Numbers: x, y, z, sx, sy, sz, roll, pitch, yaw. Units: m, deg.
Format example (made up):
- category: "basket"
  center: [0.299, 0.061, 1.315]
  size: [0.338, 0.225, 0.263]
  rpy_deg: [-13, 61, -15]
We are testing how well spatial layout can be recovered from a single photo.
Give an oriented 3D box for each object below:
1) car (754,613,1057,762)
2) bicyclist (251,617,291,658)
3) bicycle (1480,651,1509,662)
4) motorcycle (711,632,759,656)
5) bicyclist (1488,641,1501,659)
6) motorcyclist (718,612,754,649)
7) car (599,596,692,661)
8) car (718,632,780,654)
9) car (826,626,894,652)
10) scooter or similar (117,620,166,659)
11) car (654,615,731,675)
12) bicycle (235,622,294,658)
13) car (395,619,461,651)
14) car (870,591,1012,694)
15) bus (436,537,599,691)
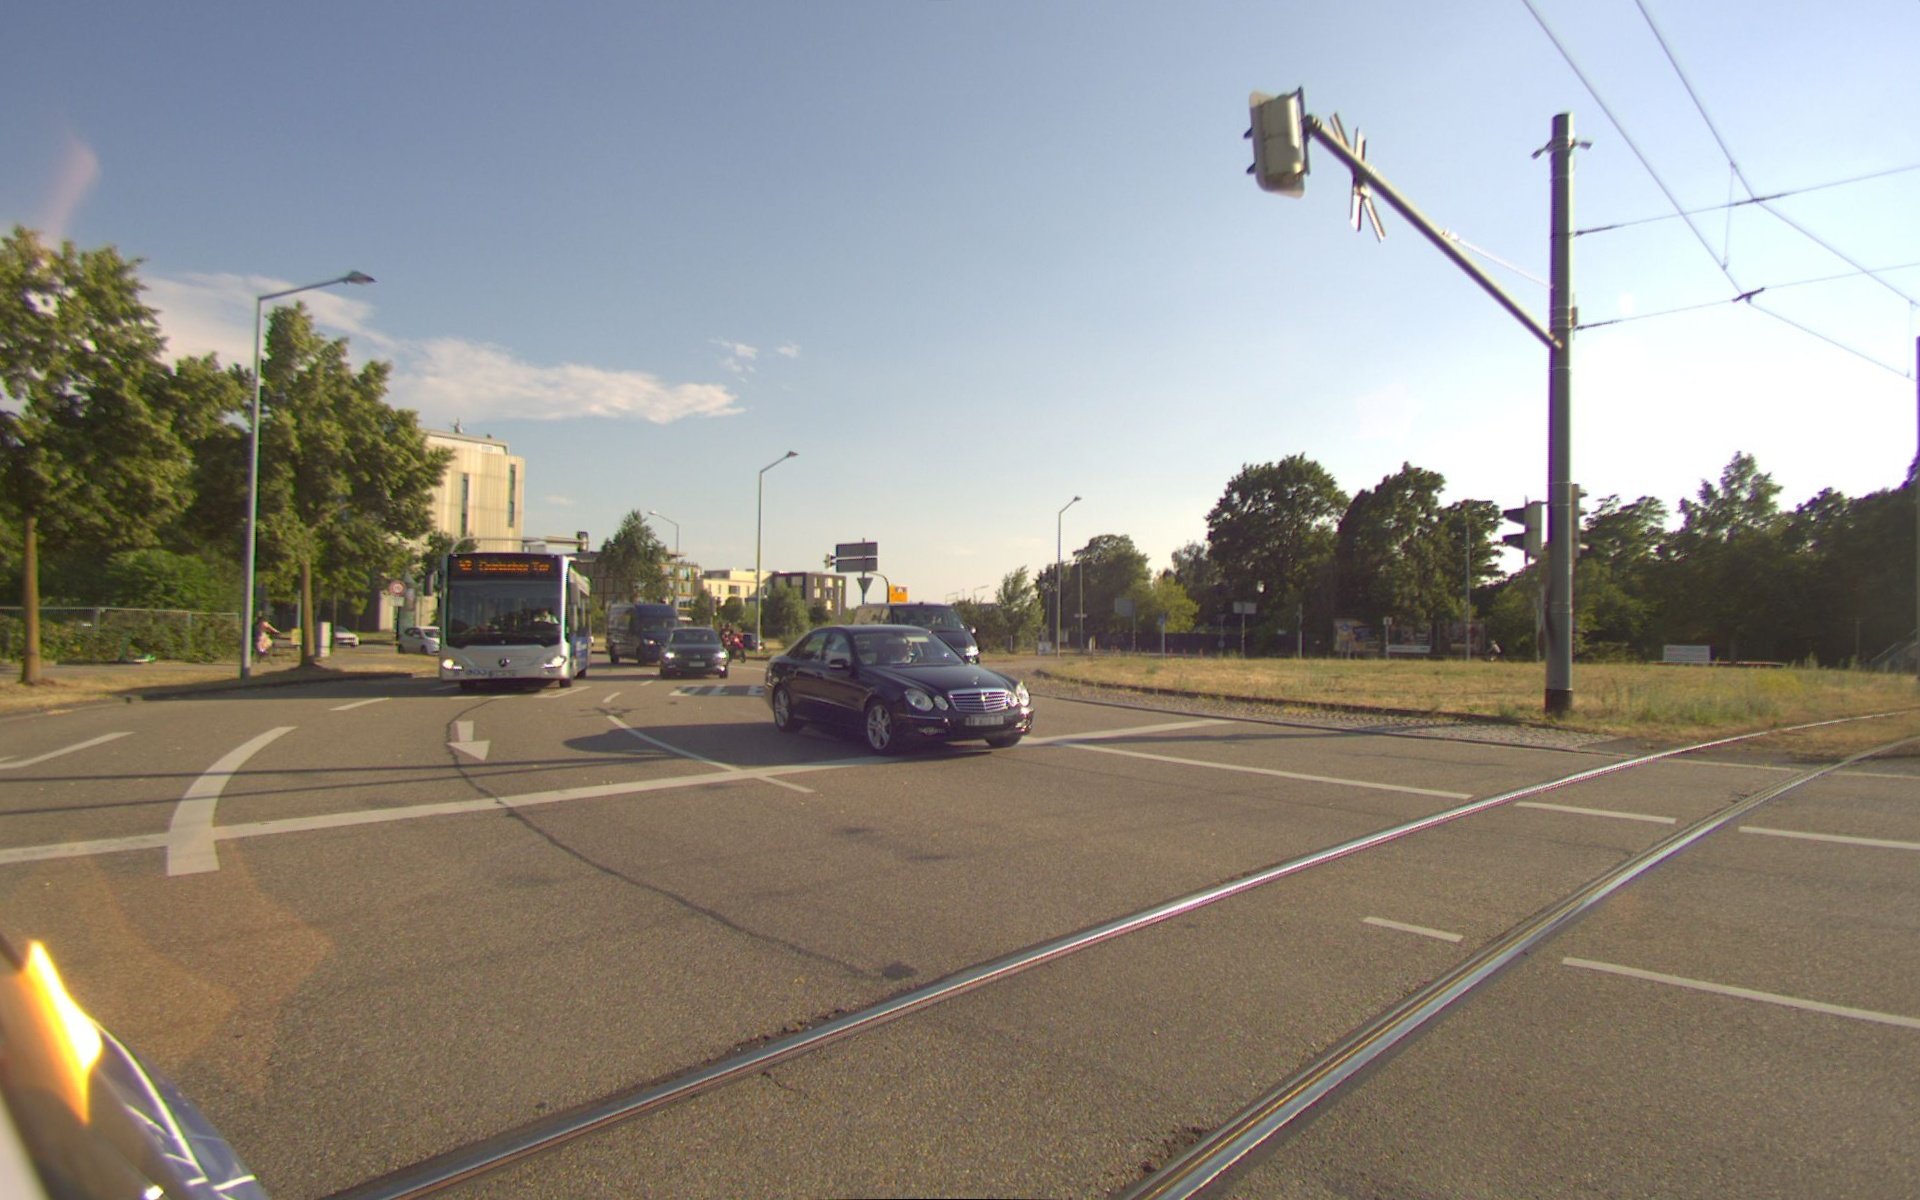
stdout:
- category: "car"
  center: [-0.886, 0.907, 12.567]
  size: [1.781, 1.447, 4.506]
  rpy_deg: [0, 0, -32]
- category: "bicyclist"
  center: [-23.409, 1.278, 34.393]
  size: [0.553, 1.373, 0.977]
  rpy_deg: [0, -2, 11]
- category: "bicycle"
  center: [38.023, 4.031, 71.991]
  size: [1.706, 0.750, 0.478]
  rpy_deg: [0, -2, 16]
- category: "motorcycle"
  center: [-9.895, 1.938, 44.472]
  size: [0.940, 0.969, 2.897]
  rpy_deg: [2, -2, -37]
- category: "bicyclist"
  center: [38.039, 3.556, 72.024]
  size: [0.648, 1.336, 0.516]
  rpy_deg: [0, -2, 17]
- category: "motorcyclist"
  center: [-9.817, 1.329, 44.346]
  size: [1.025, 1.602, 1.443]
  rpy_deg: [2, -2, -37]
- category: "car"
  center: [-13.303, 1.109, 42.541]
  size: [1.949, 2.537, 5.924]
  rpy_deg: [0, 0, -36]
- category: "car"
  center: [-14.091, 2.869, 67.587]
  size: [3.800, 1.359, 1.472]
  rpy_deg: [0, -2, 19]
- category: "car"
  center: [-6.238, 2.445, 63.410]
  size: [3.904, 1.537, 1.649]
  rpy_deg: [0, -2, 13]
- category: "scooter or similar"
  center: [-25.194, 1.205, 31.166]
  size: [0.339, 1.168, 1.166]
  rpy_deg: [0, -2, 12]
- category: "car"
  center: [-7.753, 1.226, 29.074]
  size: [1.780, 1.521, 4.175]
  rpy_deg: [0, 0, -20]
- category: "bicycle"
  center: [-23.471, 1.363, 34.187]
  size: [0.486, 1.165, 1.823]
  rpy_deg: [-3, -3, 10]
- category: "car"
  center: [-27.666, 1.810, 52.607]
  size: [3.618, 1.574, 1.567]
  rpy_deg: [-1, -2, 35]
- category: "car"
  center: [-0.557, 0.824, 21.772]
  size: [1.830, 1.947, 5.028]
  rpy_deg: [0, 0, -16]
- category: "bus"
  center: [-10.919, 0.377, 26.087]
  size: [2.552, 3.066, 11.754]
  rpy_deg: [0, -1, -17]
